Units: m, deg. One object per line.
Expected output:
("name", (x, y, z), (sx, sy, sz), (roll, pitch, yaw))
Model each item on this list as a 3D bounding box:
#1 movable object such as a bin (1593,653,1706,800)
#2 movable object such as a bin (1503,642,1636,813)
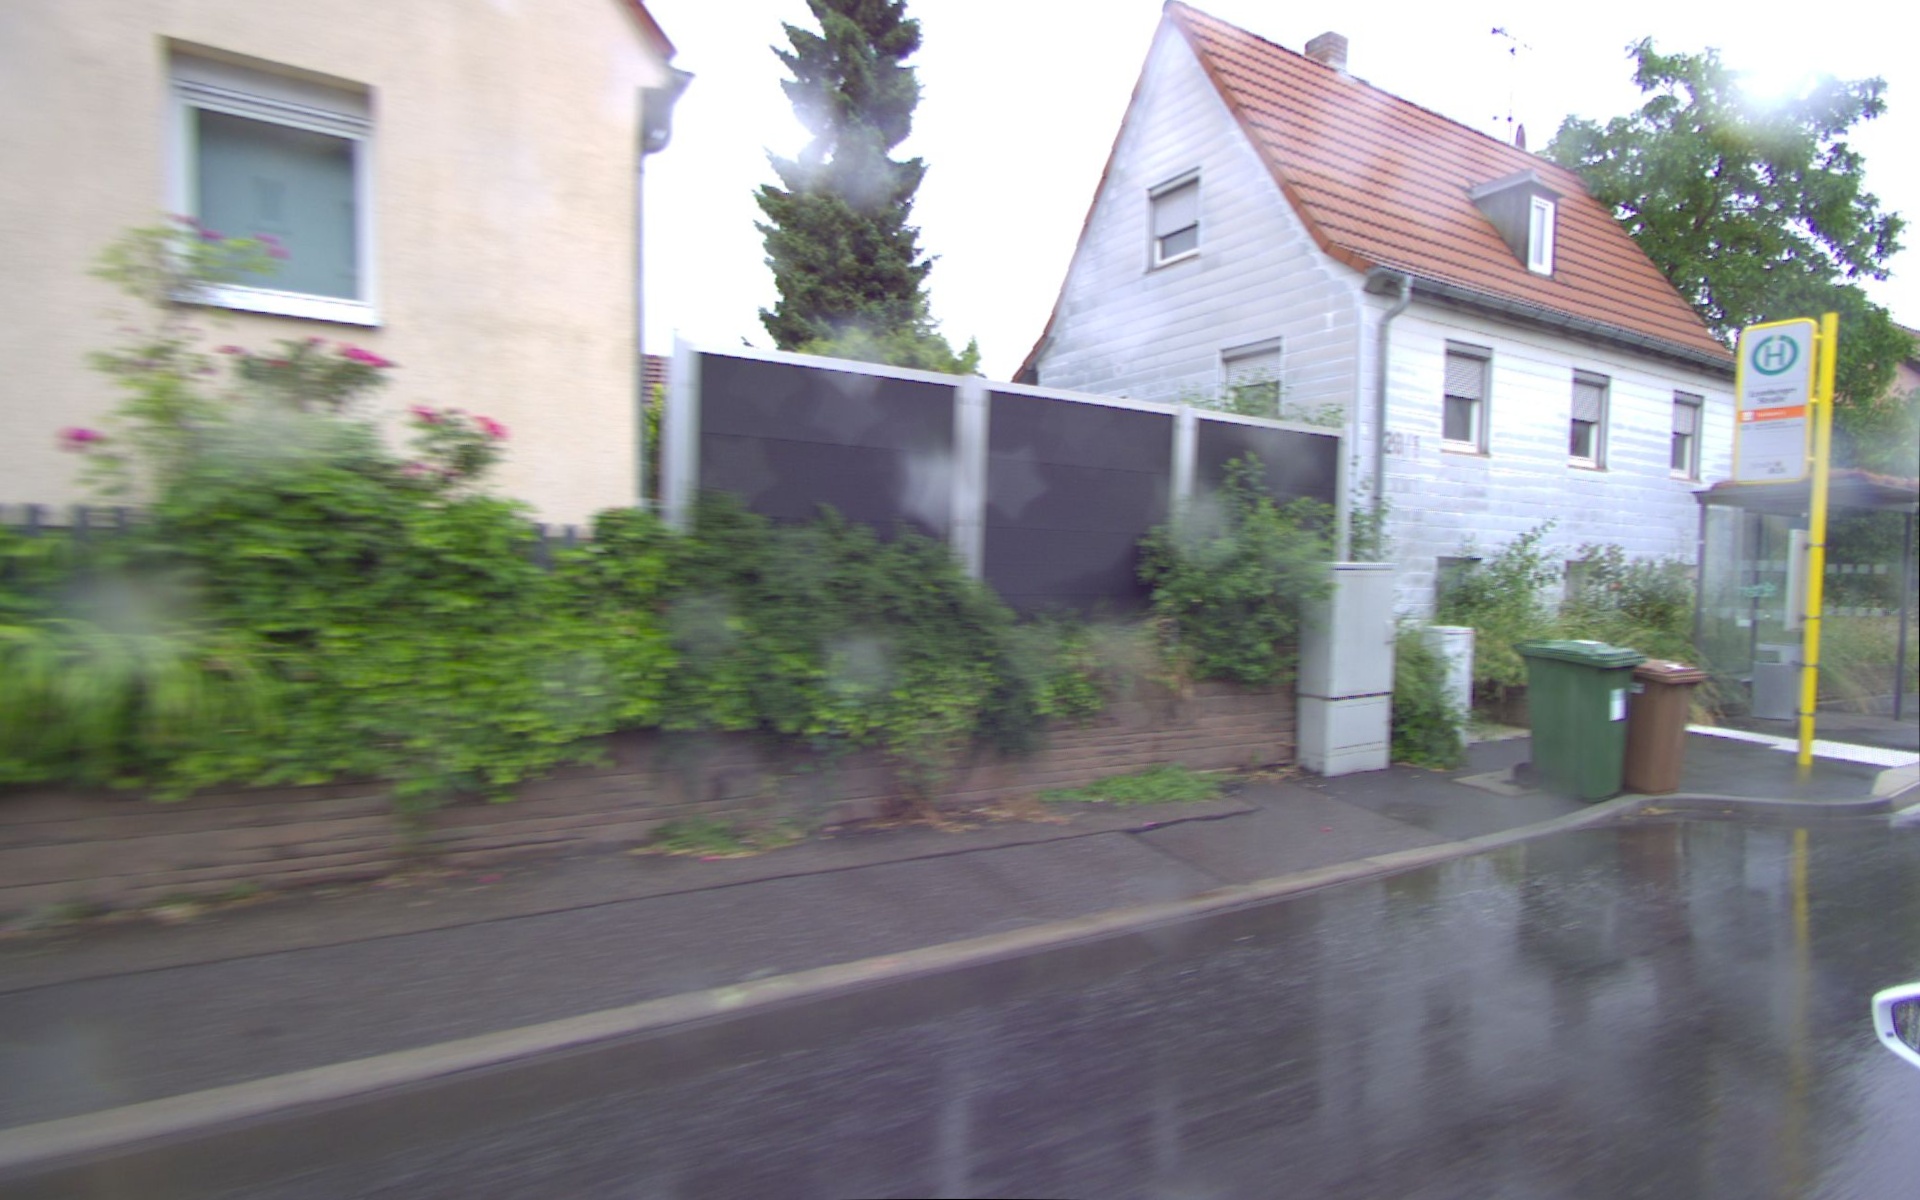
("movable object such as a bin", (5.024, 0.906, 7.329), (0.449, 0.952, 0.466), (-2, 6, -29))
("movable object such as a bin", (4.332, 0.880, 7.154), (0.521, 1.097, 0.550), (1, 5, -30))
